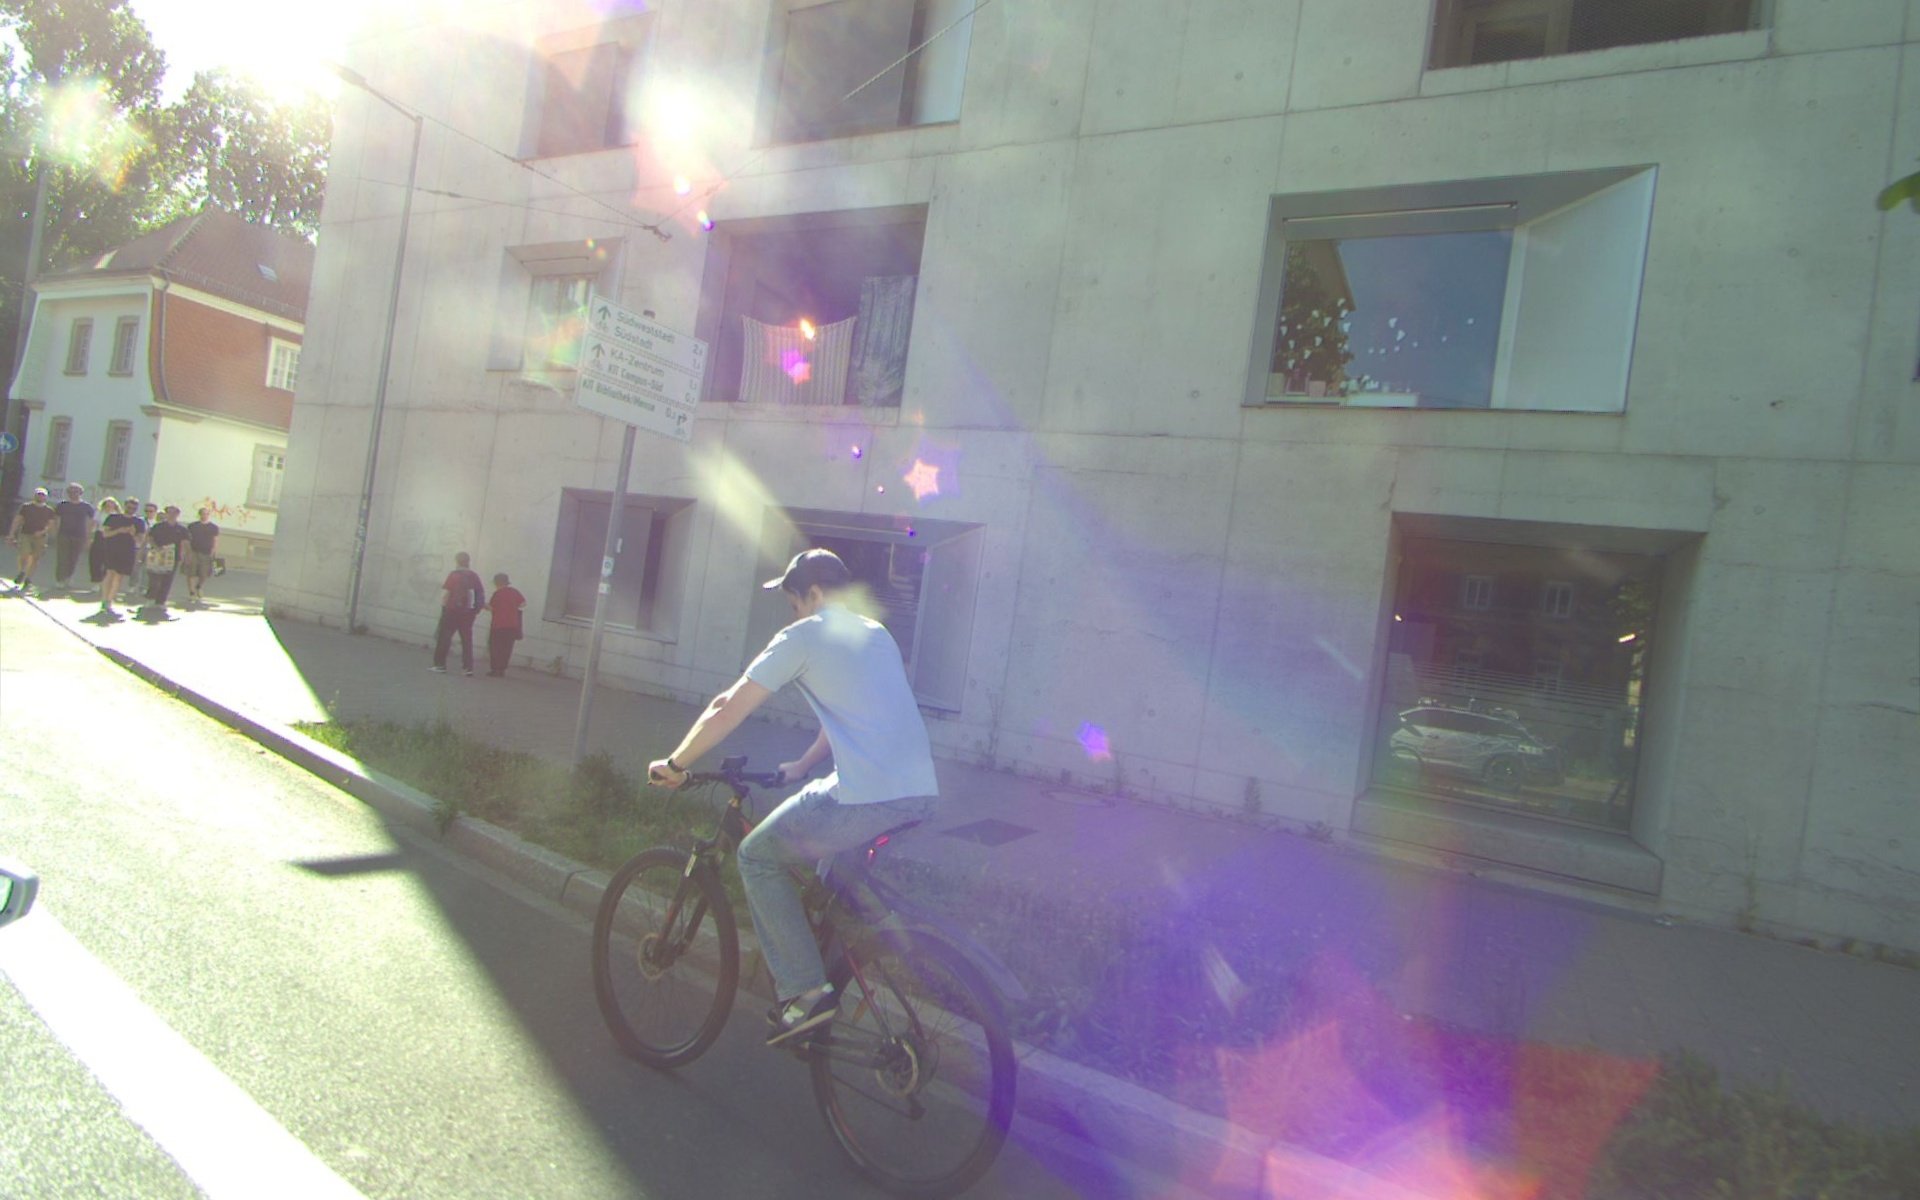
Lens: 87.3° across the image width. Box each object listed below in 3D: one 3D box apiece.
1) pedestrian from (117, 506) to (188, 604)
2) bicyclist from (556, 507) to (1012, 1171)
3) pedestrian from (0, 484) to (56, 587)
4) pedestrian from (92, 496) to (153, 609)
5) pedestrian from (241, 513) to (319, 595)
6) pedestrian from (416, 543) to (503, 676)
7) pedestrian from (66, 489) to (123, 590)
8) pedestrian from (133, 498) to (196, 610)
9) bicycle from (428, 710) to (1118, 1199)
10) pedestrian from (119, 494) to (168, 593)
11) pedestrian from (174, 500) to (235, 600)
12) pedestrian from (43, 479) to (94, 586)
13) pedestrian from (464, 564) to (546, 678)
[{"bbox_3d":[-14.289,-0.805,17.832,0.822,1.627,0.885,4,4,-33],"label":"pedestrian"},{"bbox_3d":[-0.541,0.649,3.226,0.955,1.704,0.740,8,-2,30],"label":"bicyclist"},{"bbox_3d":[-17.036,-1.172,18.358,0.706,1.770,0.606,8,3,36],"label":"pedestrian"},{"bbox_3d":[-13.689,-0.773,16.439,0.803,1.751,0.494,8,4,33],"label":"pedestrian"},{"bbox_3d":[-15.306,-1.027,22.653,0.843,1.660,0.994,6,-1,13],"label":"pedestrian"},{"bbox_3d":[-6.561,0.124,13.188,0.752,1.619,0.518,8,0,31],"label":"pedestrian"},{"bbox_3d":[-16.279,-1.137,18.933,0.522,1.799,0.731,4,4,-21],"label":"pedestrian"},{"bbox_3d":[-13.479,-0.780,17.050,0.943,1.787,0.645,9,4,43],"label":"pedestrian"},{"bbox_3d":[-0.668,1.089,3.246,2.075,1.106,0.740,8,-2,30],"label":"bicycle"},{"bbox_3d":[-15.655,-1.080,19.289,0.644,1.799,0.608,9,5,44],"label":"pedestrian"},{"bbox_3d":[-14.560,-0.958,19.391,0.720,1.826,0.656,8,3,36],"label":"pedestrian"},{"bbox_3d":[-16.750,-1.259,18.905,0.602,1.927,0.518,8,3,36],"label":"pedestrian"},{"bbox_3d":[-6.136,0.289,13.567,0.752,1.421,0.518,8,0,31],"label":"pedestrian"}]
